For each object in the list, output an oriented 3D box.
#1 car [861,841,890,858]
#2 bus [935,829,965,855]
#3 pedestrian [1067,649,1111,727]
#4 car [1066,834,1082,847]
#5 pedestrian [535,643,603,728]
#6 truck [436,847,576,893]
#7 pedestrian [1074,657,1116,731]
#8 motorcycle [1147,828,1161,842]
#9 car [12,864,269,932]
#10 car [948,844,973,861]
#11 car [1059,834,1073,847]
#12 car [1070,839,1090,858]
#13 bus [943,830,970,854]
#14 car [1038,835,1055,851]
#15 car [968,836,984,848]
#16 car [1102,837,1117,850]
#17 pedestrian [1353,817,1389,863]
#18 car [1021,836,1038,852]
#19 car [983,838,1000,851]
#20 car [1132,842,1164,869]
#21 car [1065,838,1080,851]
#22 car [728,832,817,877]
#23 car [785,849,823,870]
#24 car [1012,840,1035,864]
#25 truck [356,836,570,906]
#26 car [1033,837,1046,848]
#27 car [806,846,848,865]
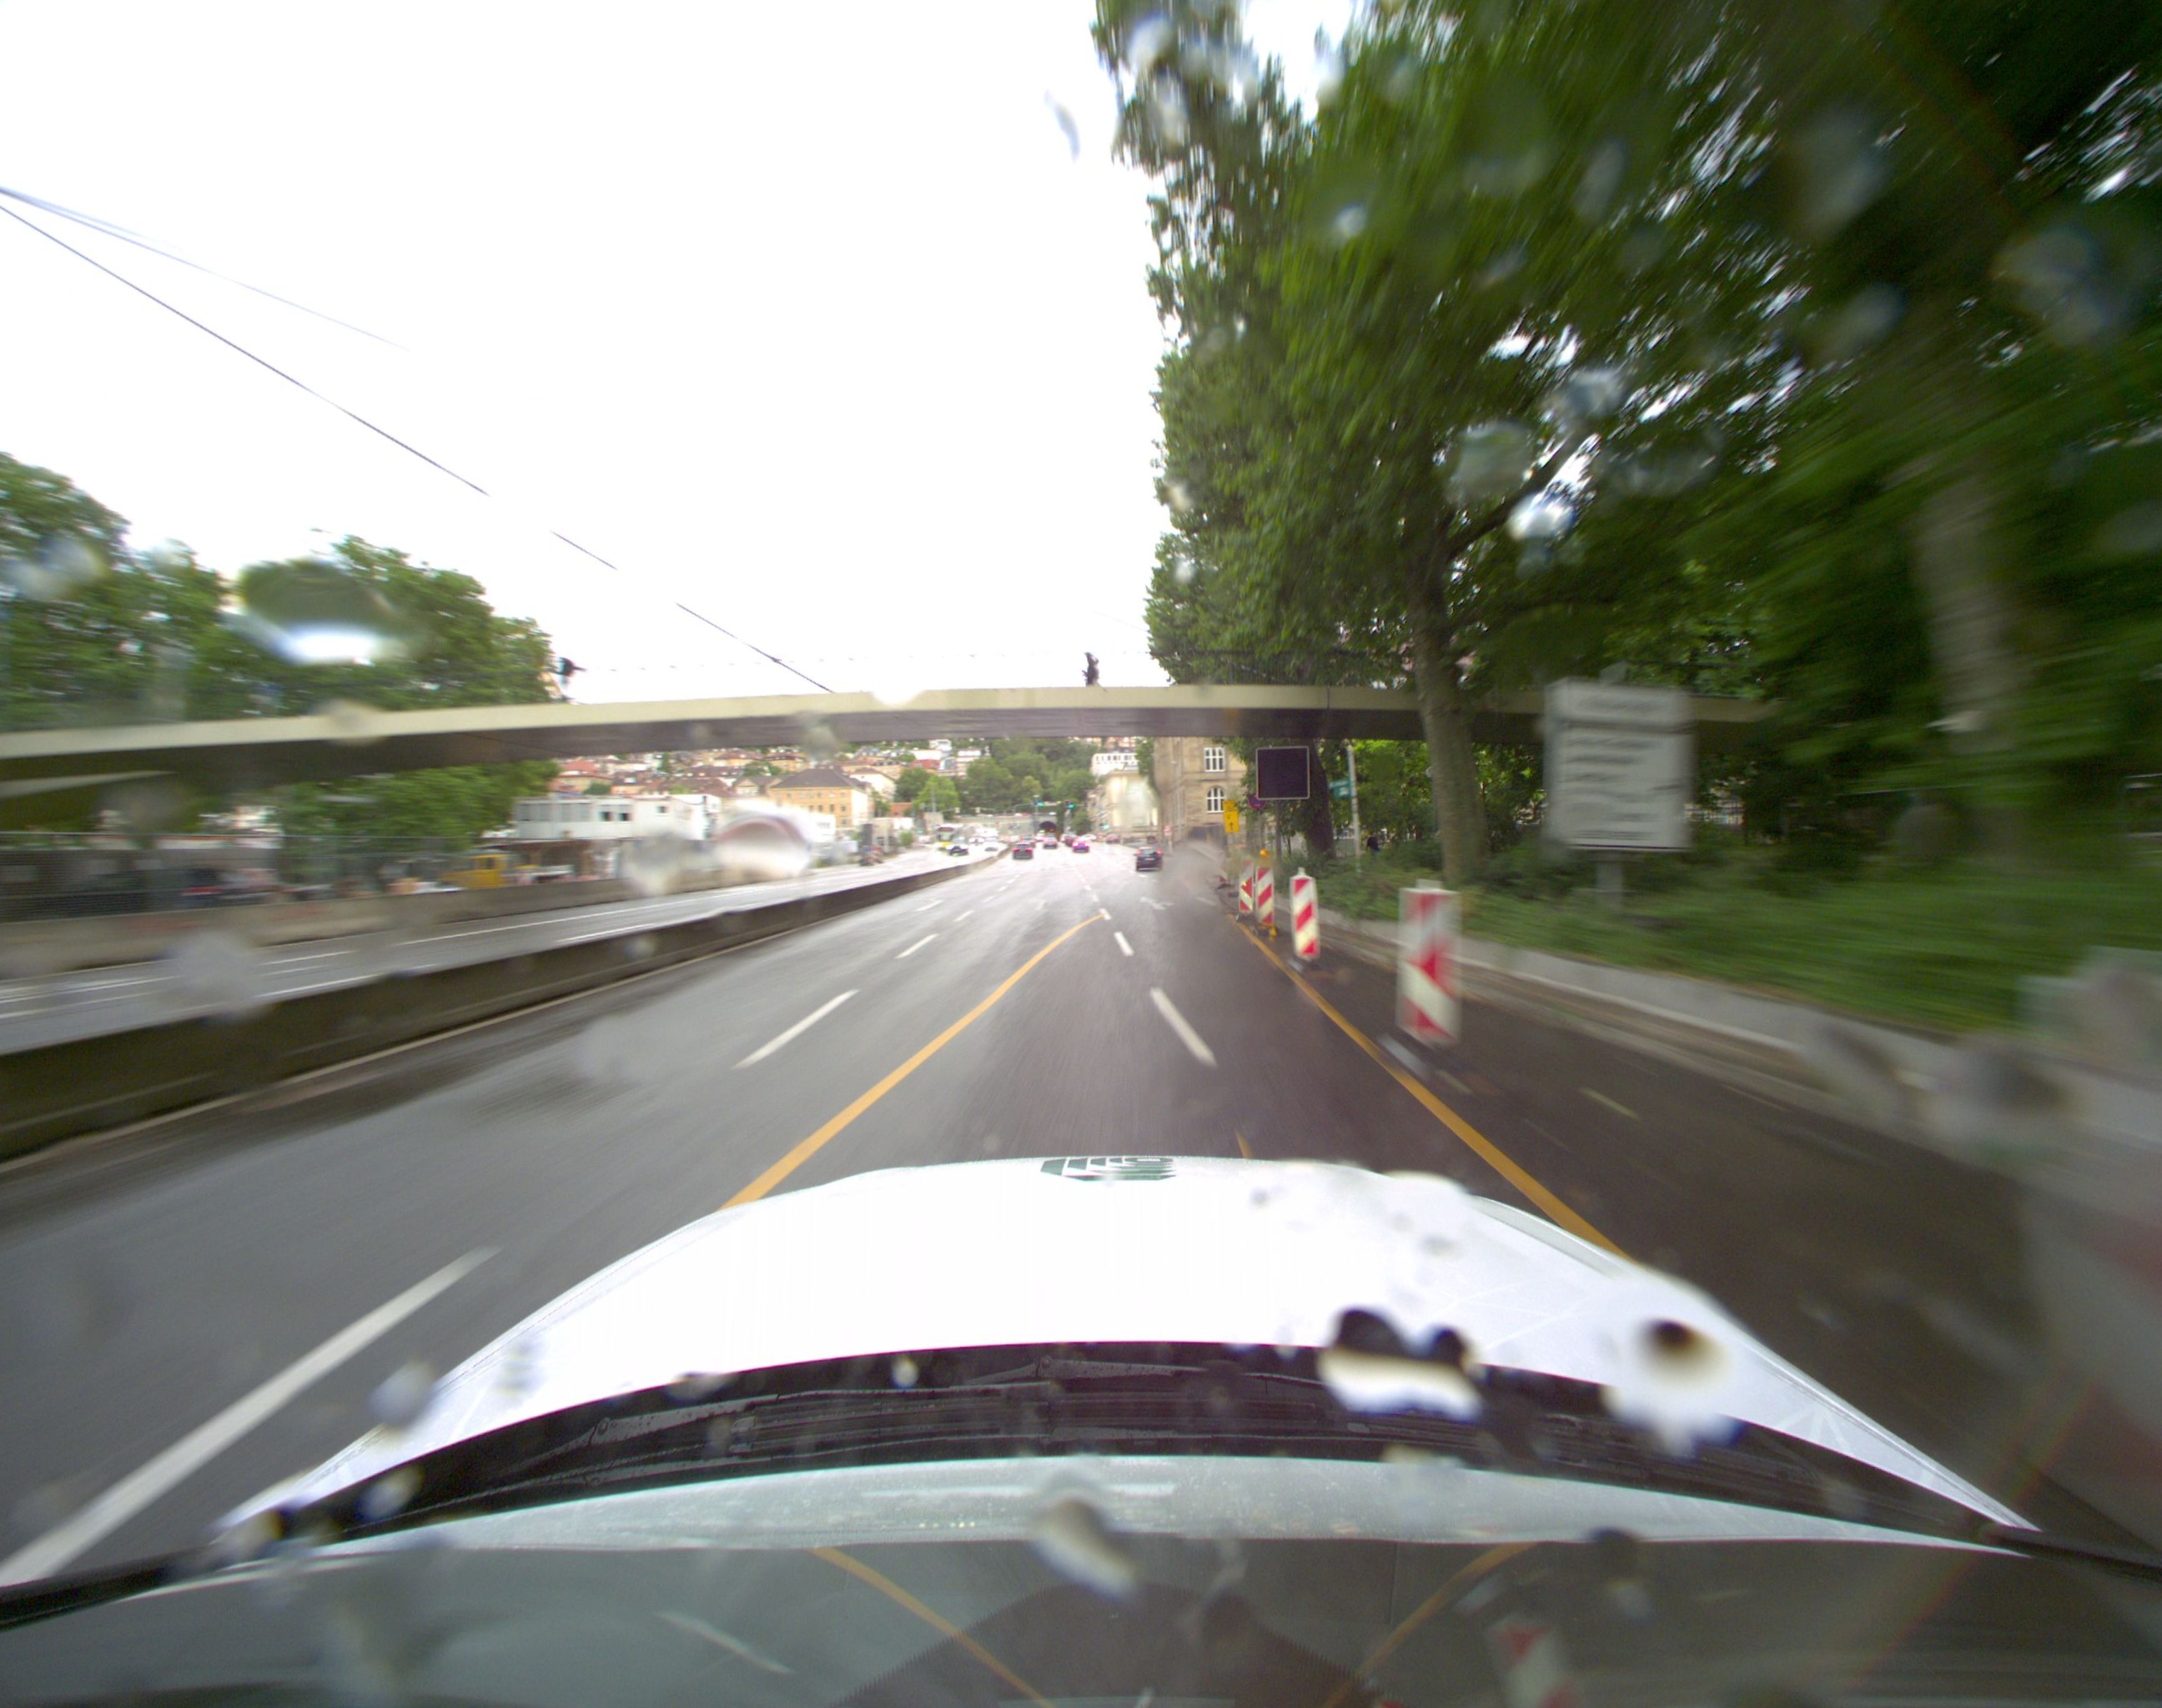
[{"bbox_3d":[-22.221,-0.520,88.003,1.986,1.621,4.002,-2,2,1],"label":"car"},{"bbox_3d":[-17.083,-1.559,106.733,2.800,3.184,8.798,-2,0,-3],"label":"bus"},{"bbox_3d":[0.249,-4.991,24.590,1.142,2.060,1.061,-3,-1,5],"label":"pedestrian"},{"bbox_3d":[-0.983,-1.896,114.717,1.990,1.698,3.993,-2,-1,-5],"label":"car"},{"bbox_3d":[-14.217,-4.657,22.645,1.142,2.060,1.061,-3,-1,5],"label":"pedestrian"},{"bbox_3d":[-28.722,0.778,40.842,5.243,2.013,2.158,-2,0,-7],"label":"truck"},{"bbox_3d":[0.442,-5.005,25.616,1.142,2.060,1.061,-3,-1,5],"label":"pedestrian"},{"bbox_3d":[10.986,-2.904,123.494,1.789,2.013,3.814,-2,2,1],"label":"motorcycle"},{"bbox_3d":[-26.561,1.192,23.194,4.426,1.627,1.951,-2,0,-12],"label":"car"},{"bbox_3d":[-12.919,-0.176,87.477,2.076,1.630,4.850,-2,1,-2],"label":"car"},{"bbox_3d":[-2.664,-2.367,141.467,1.991,2.013,3.992,-3,0,-6],"label":"car"},{"bbox_3d":[-0.112,-0.642,93.900,2.100,2.050,3.996,-2,-1,-3],"label":"car"},{"bbox_3d":[-17.621,-1.661,115.740,2.697,3.151,9.141,-2,0,-3],"label":"bus"},{"bbox_3d":[-4.599,-1.415,107.385,2.047,2.013,3.994,-2,-1,-4],"label":"car"},{"bbox_3d":[-15.756,-1.780,122.680,2.036,1.662,4.925,-2,-1,-5],"label":"car"},{"bbox_3d":[4.744,-1.784,136.151,1.989,2.013,3.995,-1,1,-3],"label":"car"},{"bbox_3d":[12.888,-0.622,36.178,1.057,2.013,1.027,-2,1,-37],"label":"pedestrian"},{"bbox_3d":[-7.000,-1.283,110.478,1.987,2.013,3.999,-2,-1,0],"label":"car"},{"bbox_3d":[-10.943,-1.181,100.169,1.704,1.489,3.448,-2,-1,-1],"label":"car"},{"bbox_3d":[4.203,0.085,50.383,1.803,1.527,4.007,-3,0,6],"label":"car"},{"bbox_3d":[-1.264,-1.424,121.412,1.990,1.698,3.993,-2,-1,-5],"label":"car"},{"bbox_3d":[-21.306,0.019,56.616,1.975,2.875,6.086,-3,-1,24],"label":"car"},{"bbox_3d":[-23.537,0.467,69.314,1.756,1.565,4.175,-2,2,0],"label":"car"},{"bbox_3d":[-5.348,-0.164,76.080,2.012,2.013,3.996,-2,-1,-3],"label":"car"},{"bbox_3d":[-24.847,0.670,33.073,6.278,2.452,2.684,-2,-1,-10],"label":"truck"},{"bbox_3d":[-8.141,-2.243,157.749,2.289,2.013,4.596,-2,-1,-5],"label":"car"},{"bbox_3d":[-23.113,0.143,74.312,1.752,1.565,4.691,-3,-1,7],"label":"car"}]
